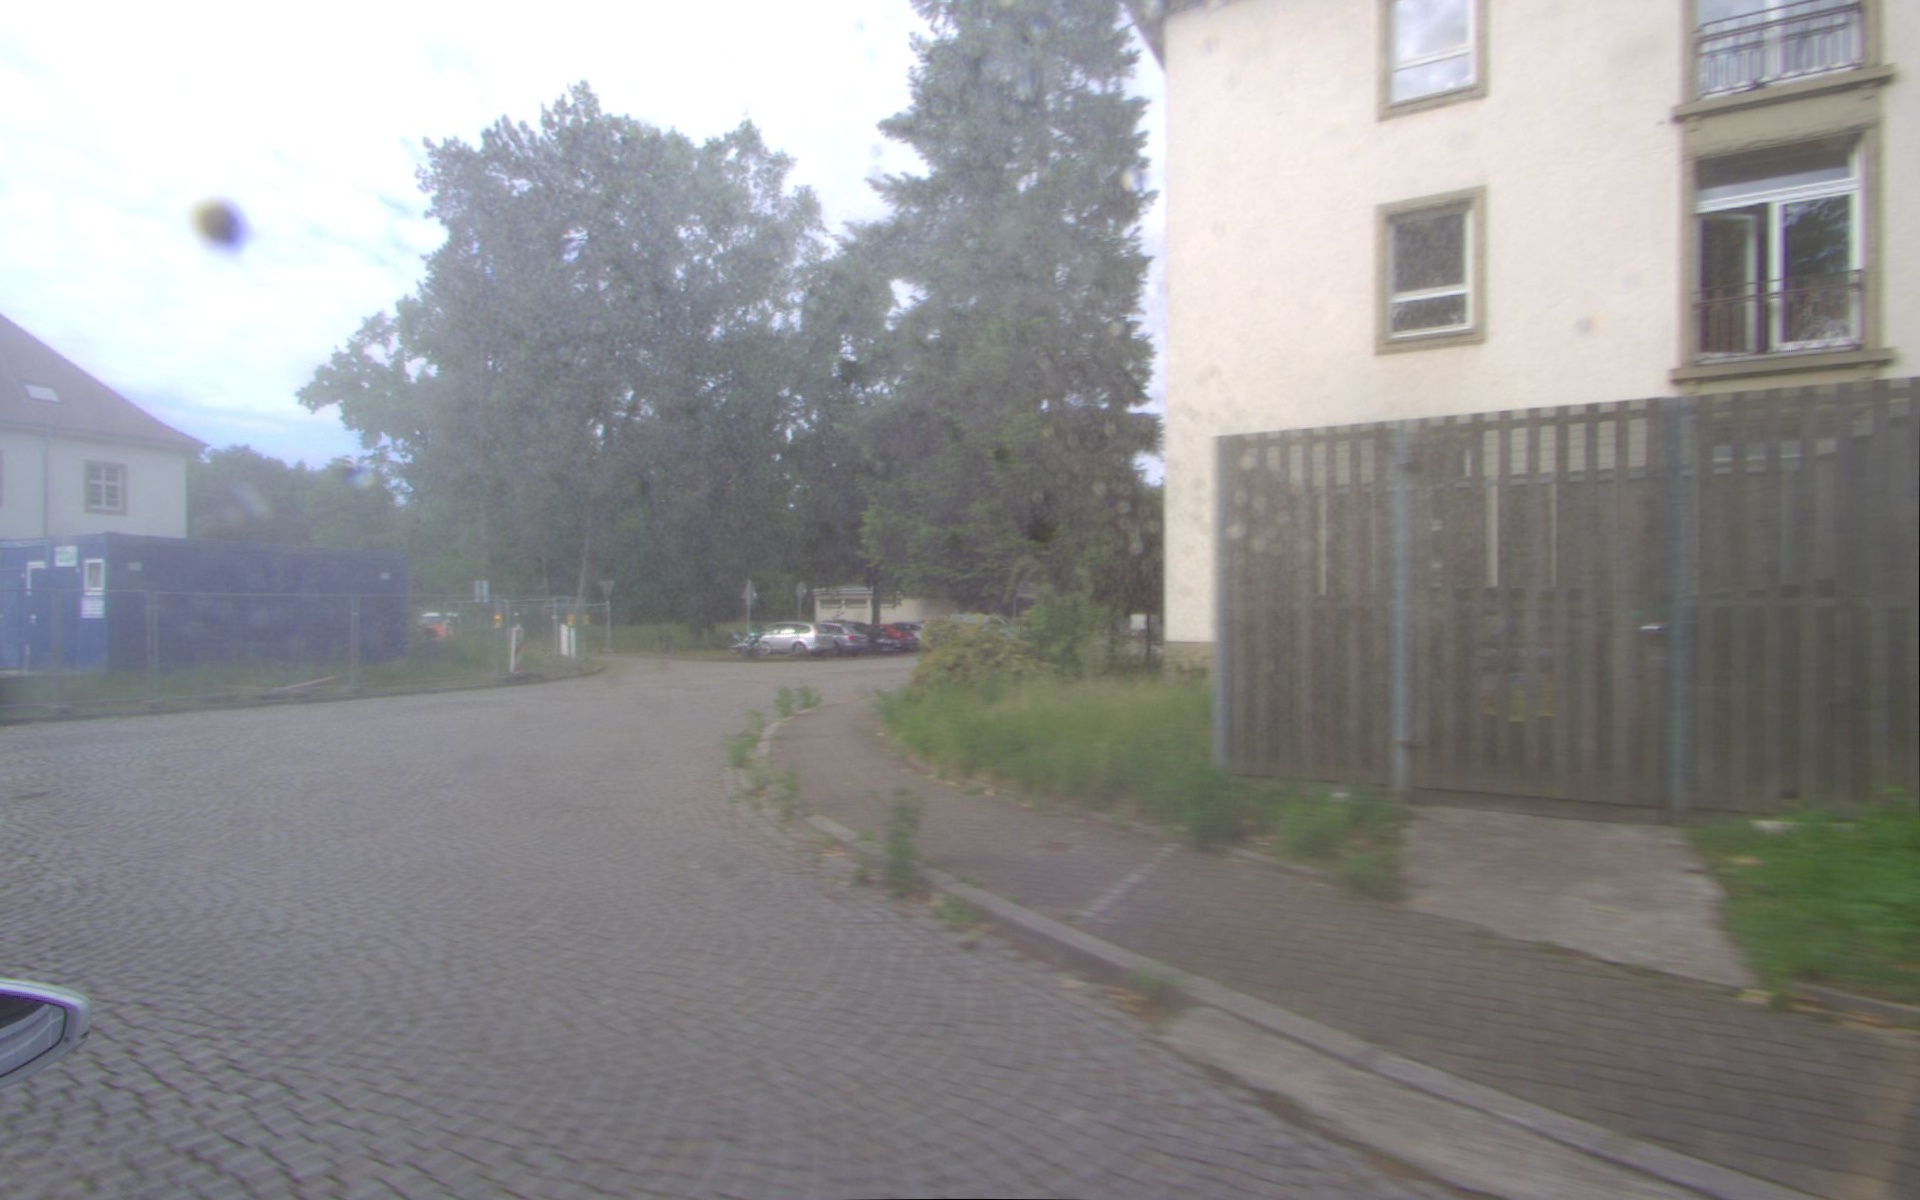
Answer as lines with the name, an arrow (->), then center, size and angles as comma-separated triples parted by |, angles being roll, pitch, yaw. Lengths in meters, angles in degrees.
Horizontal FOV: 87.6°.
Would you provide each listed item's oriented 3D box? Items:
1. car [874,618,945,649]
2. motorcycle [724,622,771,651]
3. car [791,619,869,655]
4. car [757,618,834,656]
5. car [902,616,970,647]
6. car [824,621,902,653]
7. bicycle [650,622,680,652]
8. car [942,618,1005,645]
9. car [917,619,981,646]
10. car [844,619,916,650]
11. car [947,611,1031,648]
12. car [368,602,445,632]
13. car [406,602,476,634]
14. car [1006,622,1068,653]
car -> -2.601, 1.724, 51.889 | 3.307, 1.462, 1.562 | 2, 0, 21
motorcycle -> -8.760, 1.502, 41.281 | 1.932, 1.180, 0.517 | 0, 0, 23
car -> -5.828, 1.643, 45.051 | 3.165, 1.467, 1.387 | 2, 0, 20
car -> -7.086, 1.565, 43.105 | 2.972, 1.508, 1.320 | 2, 0, 20
car -> -1.294, 1.675, 54.527 | 3.310, 1.533, 1.561 | 2, 0, 24
car -> -4.590, 1.754, 47.553 | 3.307, 1.338, 1.638 | 2, 0, 20
bicycle -> -11.703, 1.451, 39.681 | 0.509, 1.182, 1.790 | 0, -1, -38
car -> 0.786, 1.855, 58.965 | 3.310, 1.425, 1.561 | 2, 0, 24
car -> -0.607, 1.828, 56.762 | 3.310, 1.336, 1.471 | 2, 0, 24
car -> -4.008, 1.716, 50.340 | 3.312, 1.379, 1.443 | 2, 0, 27
car -> 1.788, 1.795, 61.483 | 4.879, 2.017, 1.691 | 2, 0, 28
car -> -29.042, 0.870, 52.696 | 1.730, 1.522, 4.445 | 0, 0, -3
car -> -26.178, 0.902, 50.653 | 1.589, 1.507, 3.987 | 1, 0, -3
car -> 3.783, 1.796, 48.593 | 1.581, 1.363, 4.280 | -2, -2, 26
